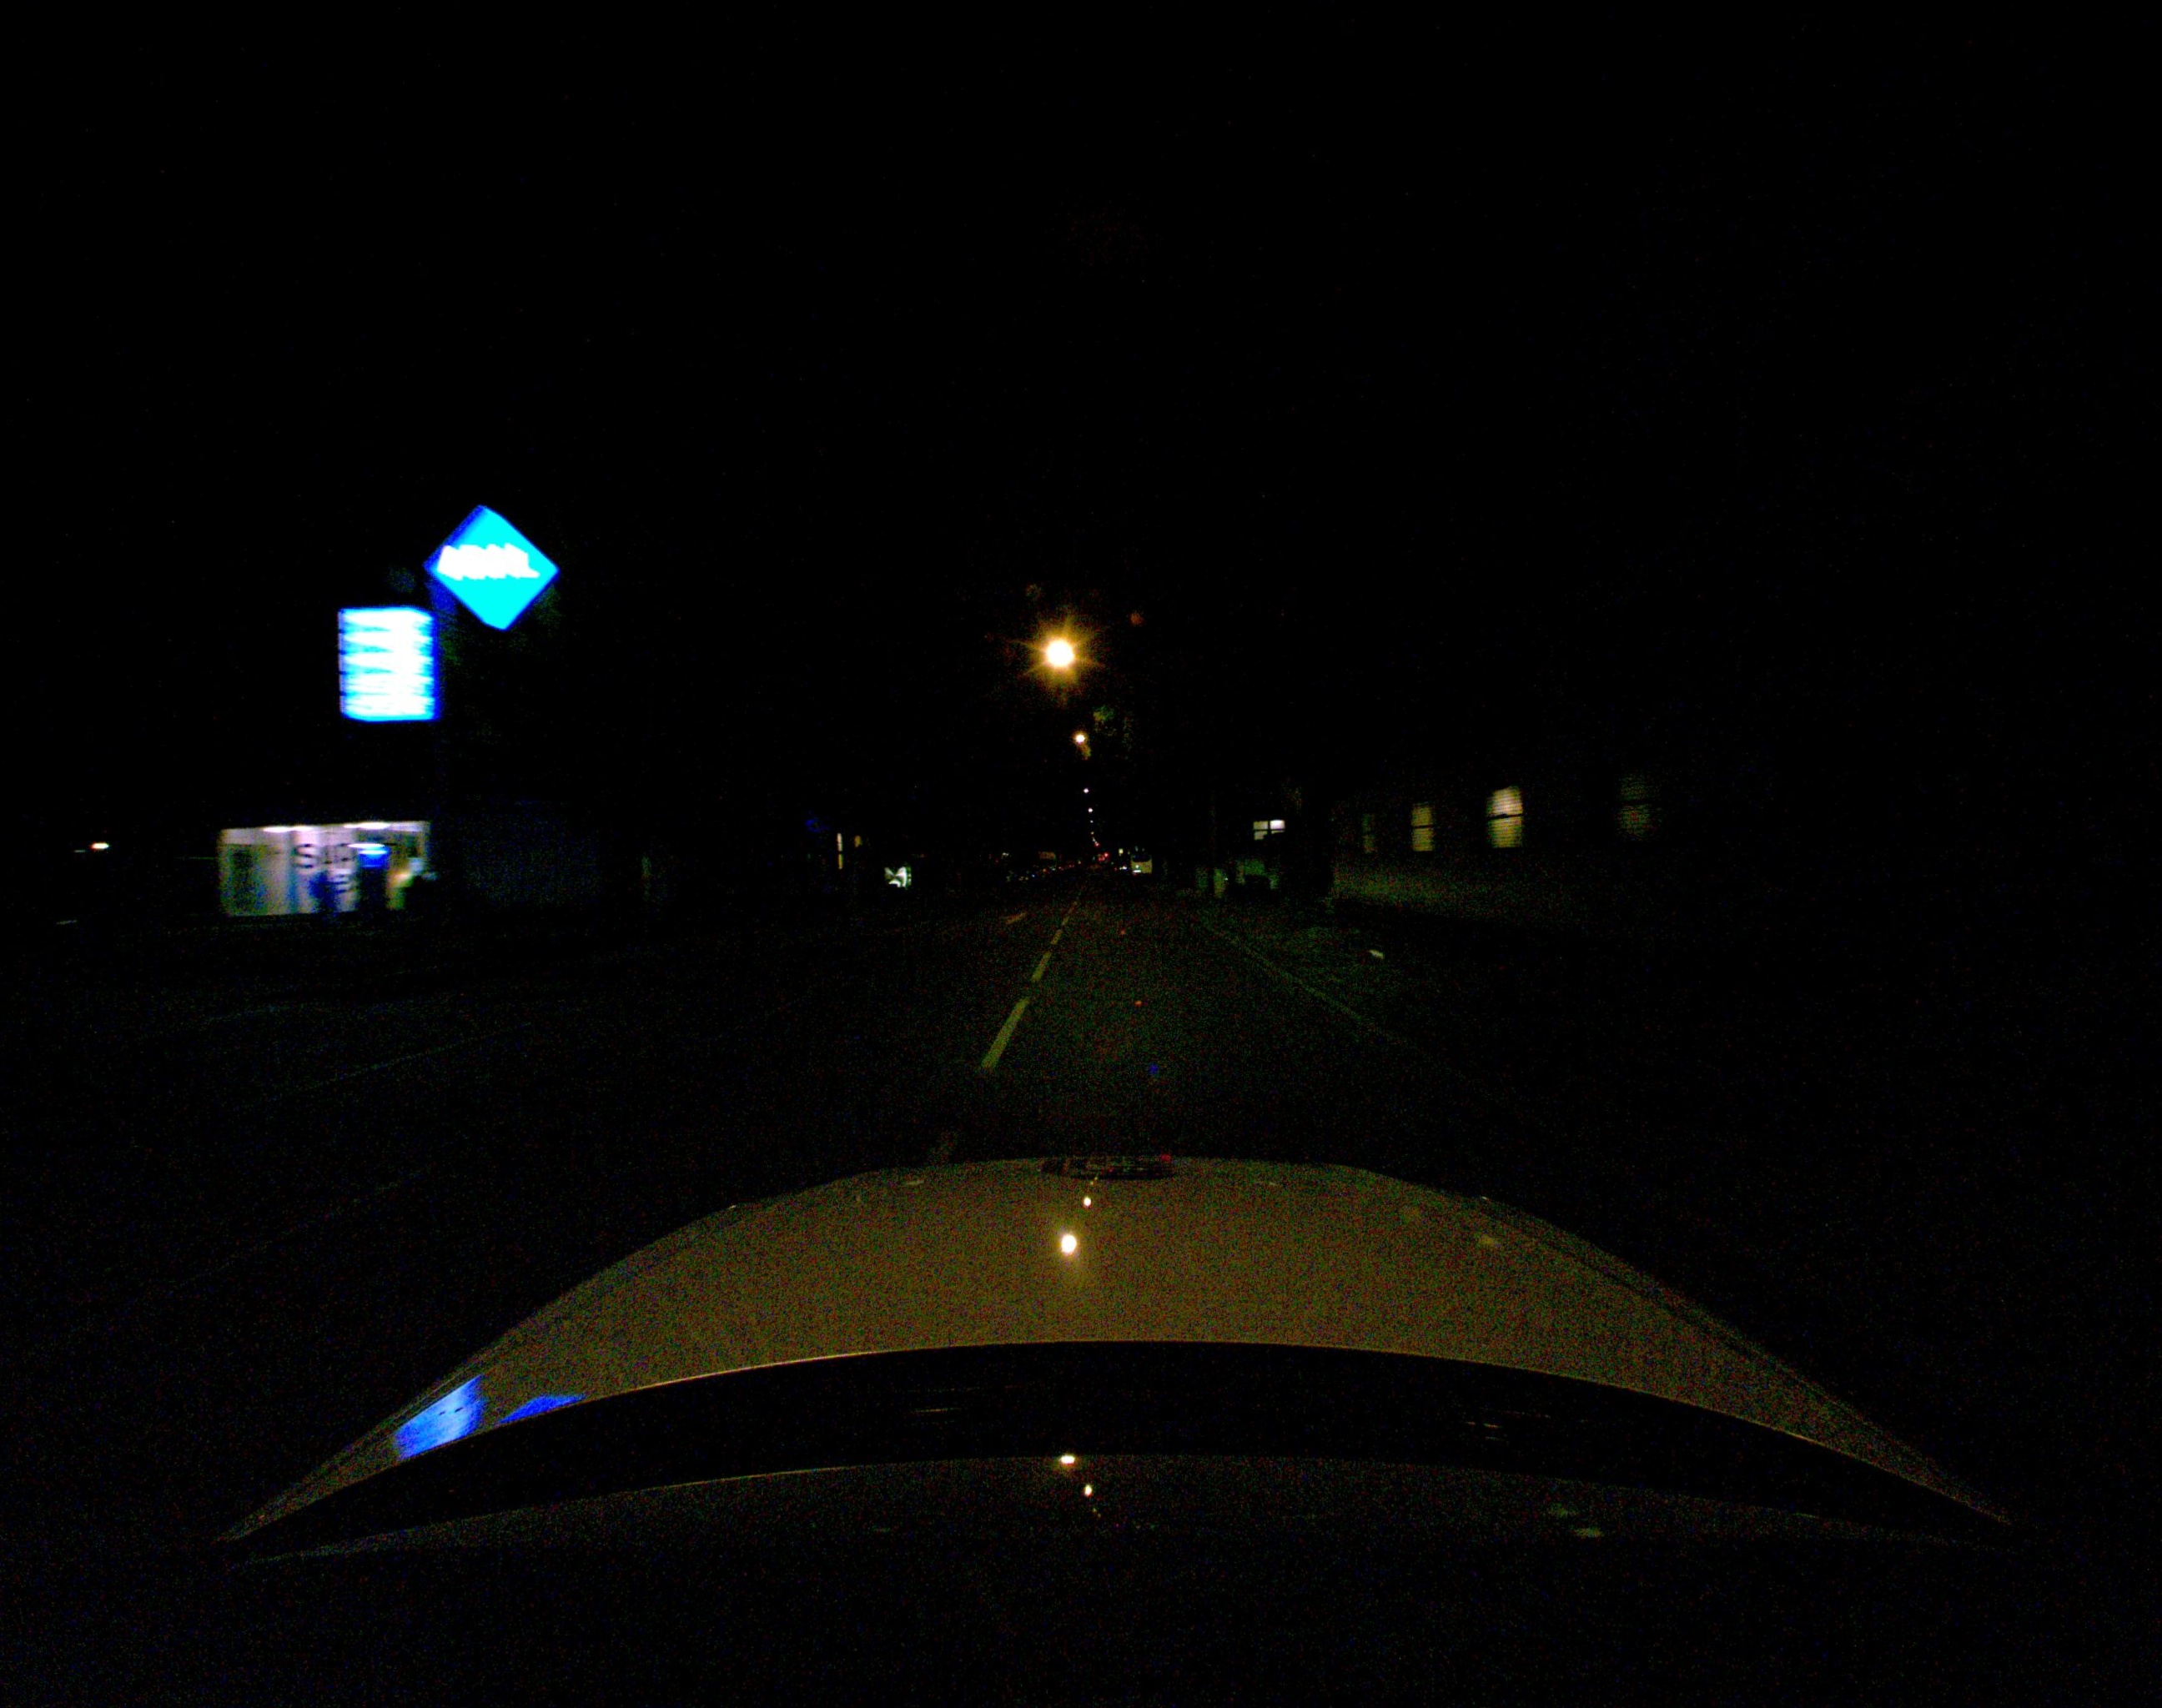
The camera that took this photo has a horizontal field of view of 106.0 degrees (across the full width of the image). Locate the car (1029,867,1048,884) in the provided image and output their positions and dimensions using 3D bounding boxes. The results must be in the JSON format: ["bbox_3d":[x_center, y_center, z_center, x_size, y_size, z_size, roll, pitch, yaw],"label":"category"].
[{"bbox_3d":[-3.858,1.942,74.708,1.542,1.455,3.368,0,-1,0],"label":"car"}]

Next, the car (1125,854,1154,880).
[{"bbox_3d":[4.637,1.010,65.479,1.945,1.964,4.602,-2,-1,0],"label":"car"}]

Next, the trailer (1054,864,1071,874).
[{"bbox_3d":[-2.750,2.220,120.983,2.102,1.335,5.437,0,-1,2],"label":"trailer"}]

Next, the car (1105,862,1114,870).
[{"bbox_3d":[6.217,2.547,178.423,1.846,1.654,4.210,-1,-1,2],"label":"car"}]

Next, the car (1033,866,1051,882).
[{"bbox_3d":[-3.798,1.982,79.540,1.640,1.505,3.859,0,-1,-1],"label":"car"}]

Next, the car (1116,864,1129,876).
[{"bbox_3d":[5.518,2.129,107.711,1.661,1.429,4.151,-4,-1,3],"label":"car"}]

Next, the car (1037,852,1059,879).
[{"bbox_3d":[-3.645,1.246,91.491,2.172,2.909,4.909,-1,-1,0],"label":"car"}]

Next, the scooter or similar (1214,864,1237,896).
[{"bbox_3d":[5.751,1.063,32.463,0.545,1.203,1.910,-2,-3,1],"label":"scooter or similar"}]

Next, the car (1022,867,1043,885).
[{"bbox_3d":[-4.092,1.828,69.165,1.440,1.430,3.903,0,-1,0],"label":"car"}]

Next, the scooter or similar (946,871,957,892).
[{"bbox_3d":[-7.753,1.615,48.691,0.365,1.204,1.427,-3,-1,1],"label":"scooter or similar"}]

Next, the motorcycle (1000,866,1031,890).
[{"bbox_3d":[-4.360,1.590,54.197,1.907,1.550,0.635,0,-1,-19],"label":"motorcycle"}]

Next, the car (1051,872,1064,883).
[{"bbox_3d":[-3.257,3.228,113.200,1.710,1.502,4.205,0,-1,0],"label":"car"}]

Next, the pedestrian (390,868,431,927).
[{"bbox_3d":[-18.637,1.204,22.642,0.573,1.606,0.643,-2,-1,-1],"label":"pedestrian"}]

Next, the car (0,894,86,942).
[{"bbox_3d":[-31.056,1.813,23.326,3.137,1.265,1.574,0,0,0],"label":"car"}]

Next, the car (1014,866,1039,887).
[{"bbox_3d":[-4.241,1.737,63.615,1.637,1.504,3.903,0,-1,0],"label":"car"}]

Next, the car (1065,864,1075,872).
[{"bbox_3d":[-2.070,2.658,158.296,1.693,1.433,3.830,1,0,2],"label":"car"}]
